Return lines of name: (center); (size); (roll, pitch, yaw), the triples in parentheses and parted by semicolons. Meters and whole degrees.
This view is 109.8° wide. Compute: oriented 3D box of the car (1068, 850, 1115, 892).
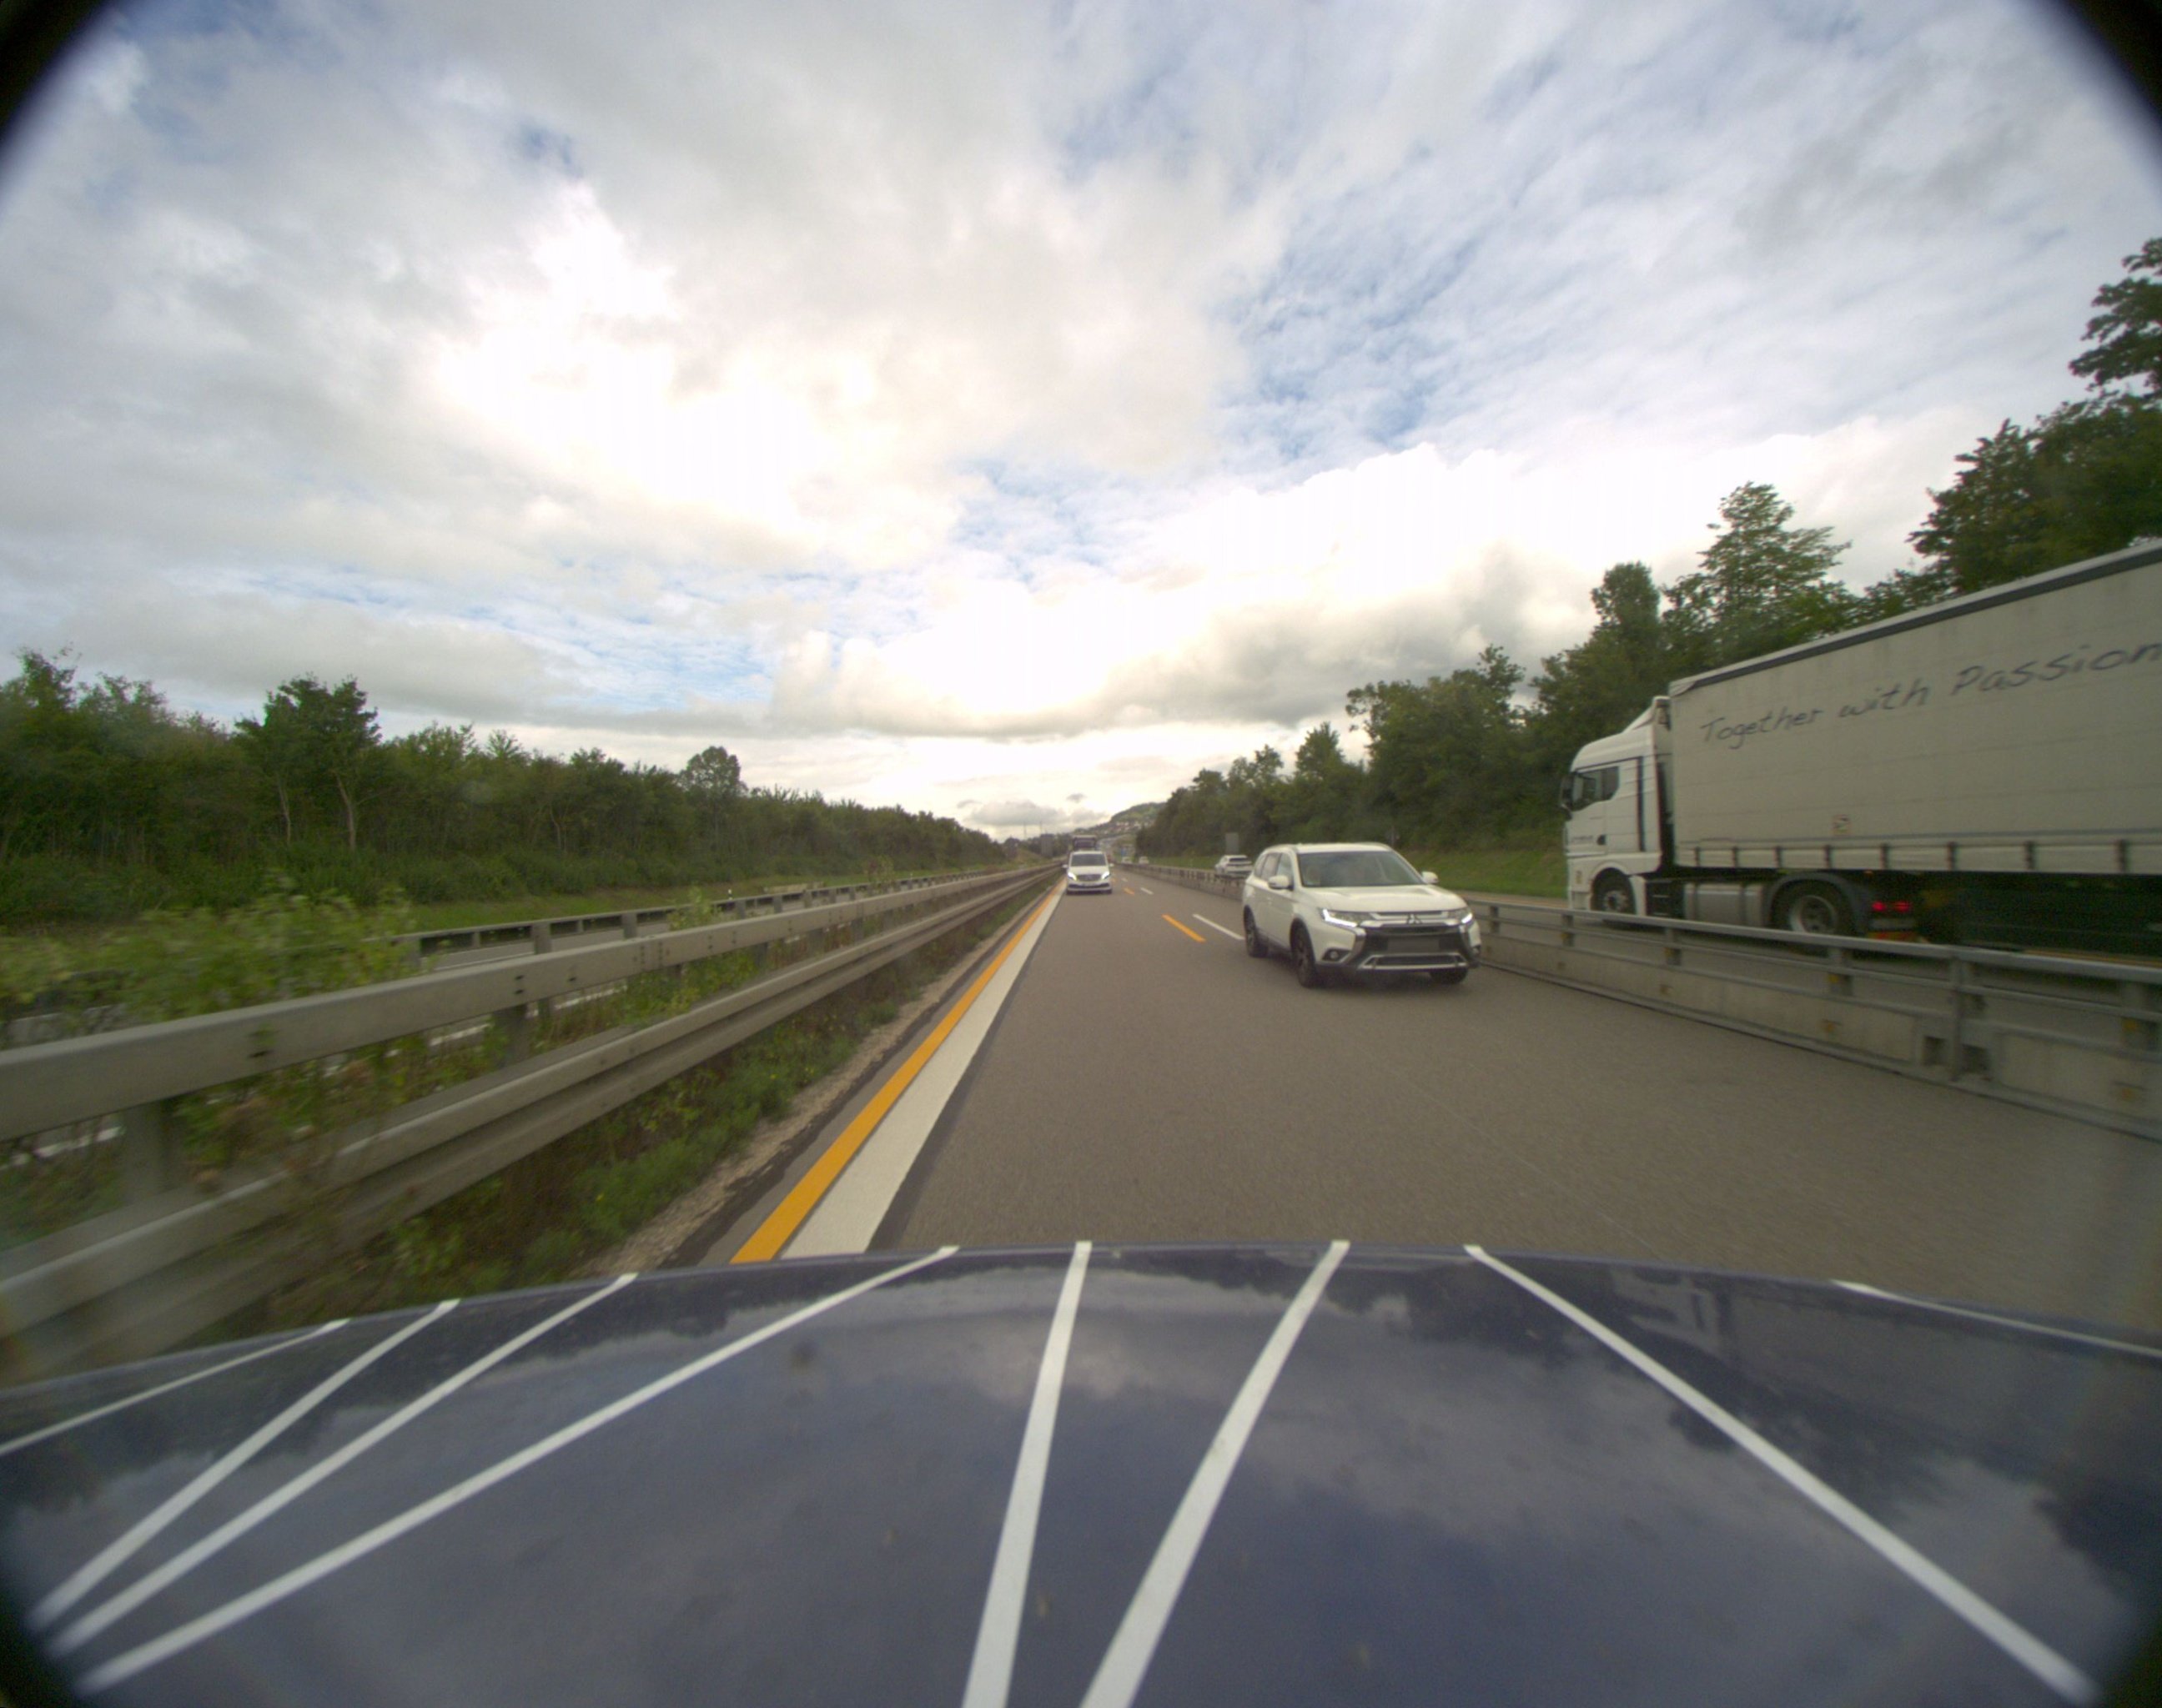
car: (0.483, 0.748, 35.681); (1.991, 1.787, 4.585); (-2, 0, 0)

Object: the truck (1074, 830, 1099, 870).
truck: (0.618, -0.423, 82.523); (2.521, 4.081, 5.685); (-2, 1, 1)

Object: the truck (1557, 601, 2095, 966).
truck: (10.432, -0.805, 11.641); (2.605, 4.130, 5.620); (-2, 0, 0)

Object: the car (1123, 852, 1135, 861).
car: (8.045, 0.415, 127.426); (1.699, 1.445, 4.551); (-2, 0, 0)

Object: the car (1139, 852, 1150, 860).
car: (11.479, 0.316, 137.431); (1.699, 1.445, 3.958); (-3, 0, 0)

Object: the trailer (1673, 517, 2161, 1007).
trailer: (10.427, -0.819, 4.623); (2.605, 4.130, 13.991); (-2, 0, 0)

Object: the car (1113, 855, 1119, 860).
car: (11.679, 1.142, 255.192); (1.685, 1.541, 3.949); (-1, 0, 0)

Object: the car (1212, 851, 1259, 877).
car: (9.826, 0.612, 48.703); (2.013, 1.460, 4.901); (-2, 0, 1)

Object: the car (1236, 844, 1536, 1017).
car: (3.407, 0.733, 9.610); (1.998, 1.618, 4.607); (-2, 0, 1)

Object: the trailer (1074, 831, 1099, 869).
trailer: (0.696, -0.465, 87.599); (2.521, 4.081, 11.112); (-2, 0, 1)
